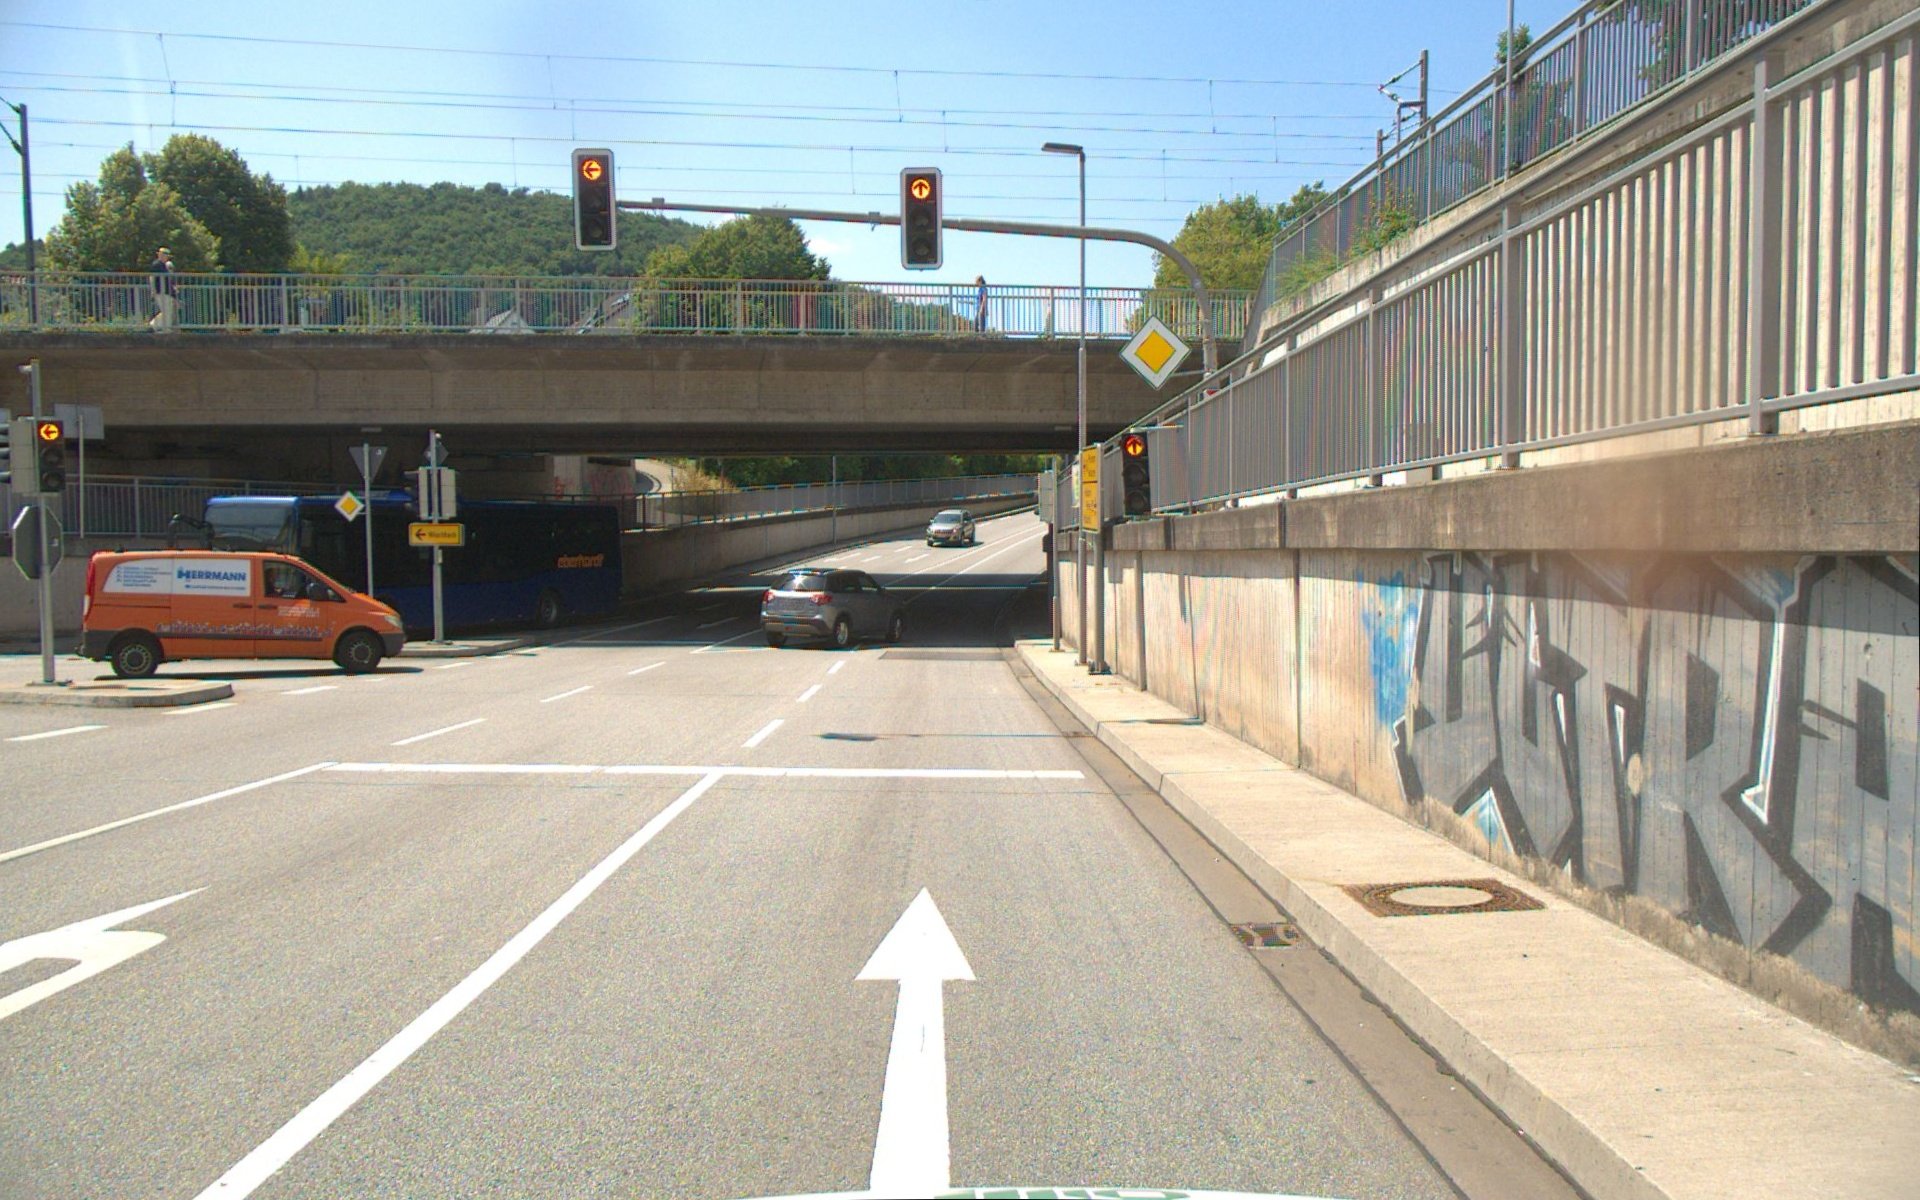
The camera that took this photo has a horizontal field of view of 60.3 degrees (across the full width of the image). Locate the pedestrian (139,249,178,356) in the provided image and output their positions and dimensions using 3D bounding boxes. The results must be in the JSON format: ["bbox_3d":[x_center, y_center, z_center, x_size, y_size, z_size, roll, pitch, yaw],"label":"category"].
[{"bbox_3d":[-16.515,-6.123,34.088,0.566,2.117,0.534,-1,1,-11],"label":"pedestrian"}]

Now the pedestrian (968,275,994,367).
[{"bbox_3d":[0.505,-6.626,39.346,0.529,2.117,0.534,-1,1,-8],"label":"pedestrian"}]

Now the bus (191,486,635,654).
[{"bbox_3d":[-11.830,-0.869,37.975,2.527,3.227,12.382,1,3,20],"label":"bus"}]

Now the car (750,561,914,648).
[{"bbox_3d":[-2.675,0.042,35.419,1.769,1.646,3.998,2,3,25],"label":"car"}]

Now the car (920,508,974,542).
[{"bbox_3d":[-0.609,-3.745,82.602,1.951,1.655,4.005,1,3,11],"label":"car"}]

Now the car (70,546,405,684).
[{"bbox_3d":[-11.298,0.165,26.021,4.648,1.965,1.863,-1,3,-27],"label":"car"}]
